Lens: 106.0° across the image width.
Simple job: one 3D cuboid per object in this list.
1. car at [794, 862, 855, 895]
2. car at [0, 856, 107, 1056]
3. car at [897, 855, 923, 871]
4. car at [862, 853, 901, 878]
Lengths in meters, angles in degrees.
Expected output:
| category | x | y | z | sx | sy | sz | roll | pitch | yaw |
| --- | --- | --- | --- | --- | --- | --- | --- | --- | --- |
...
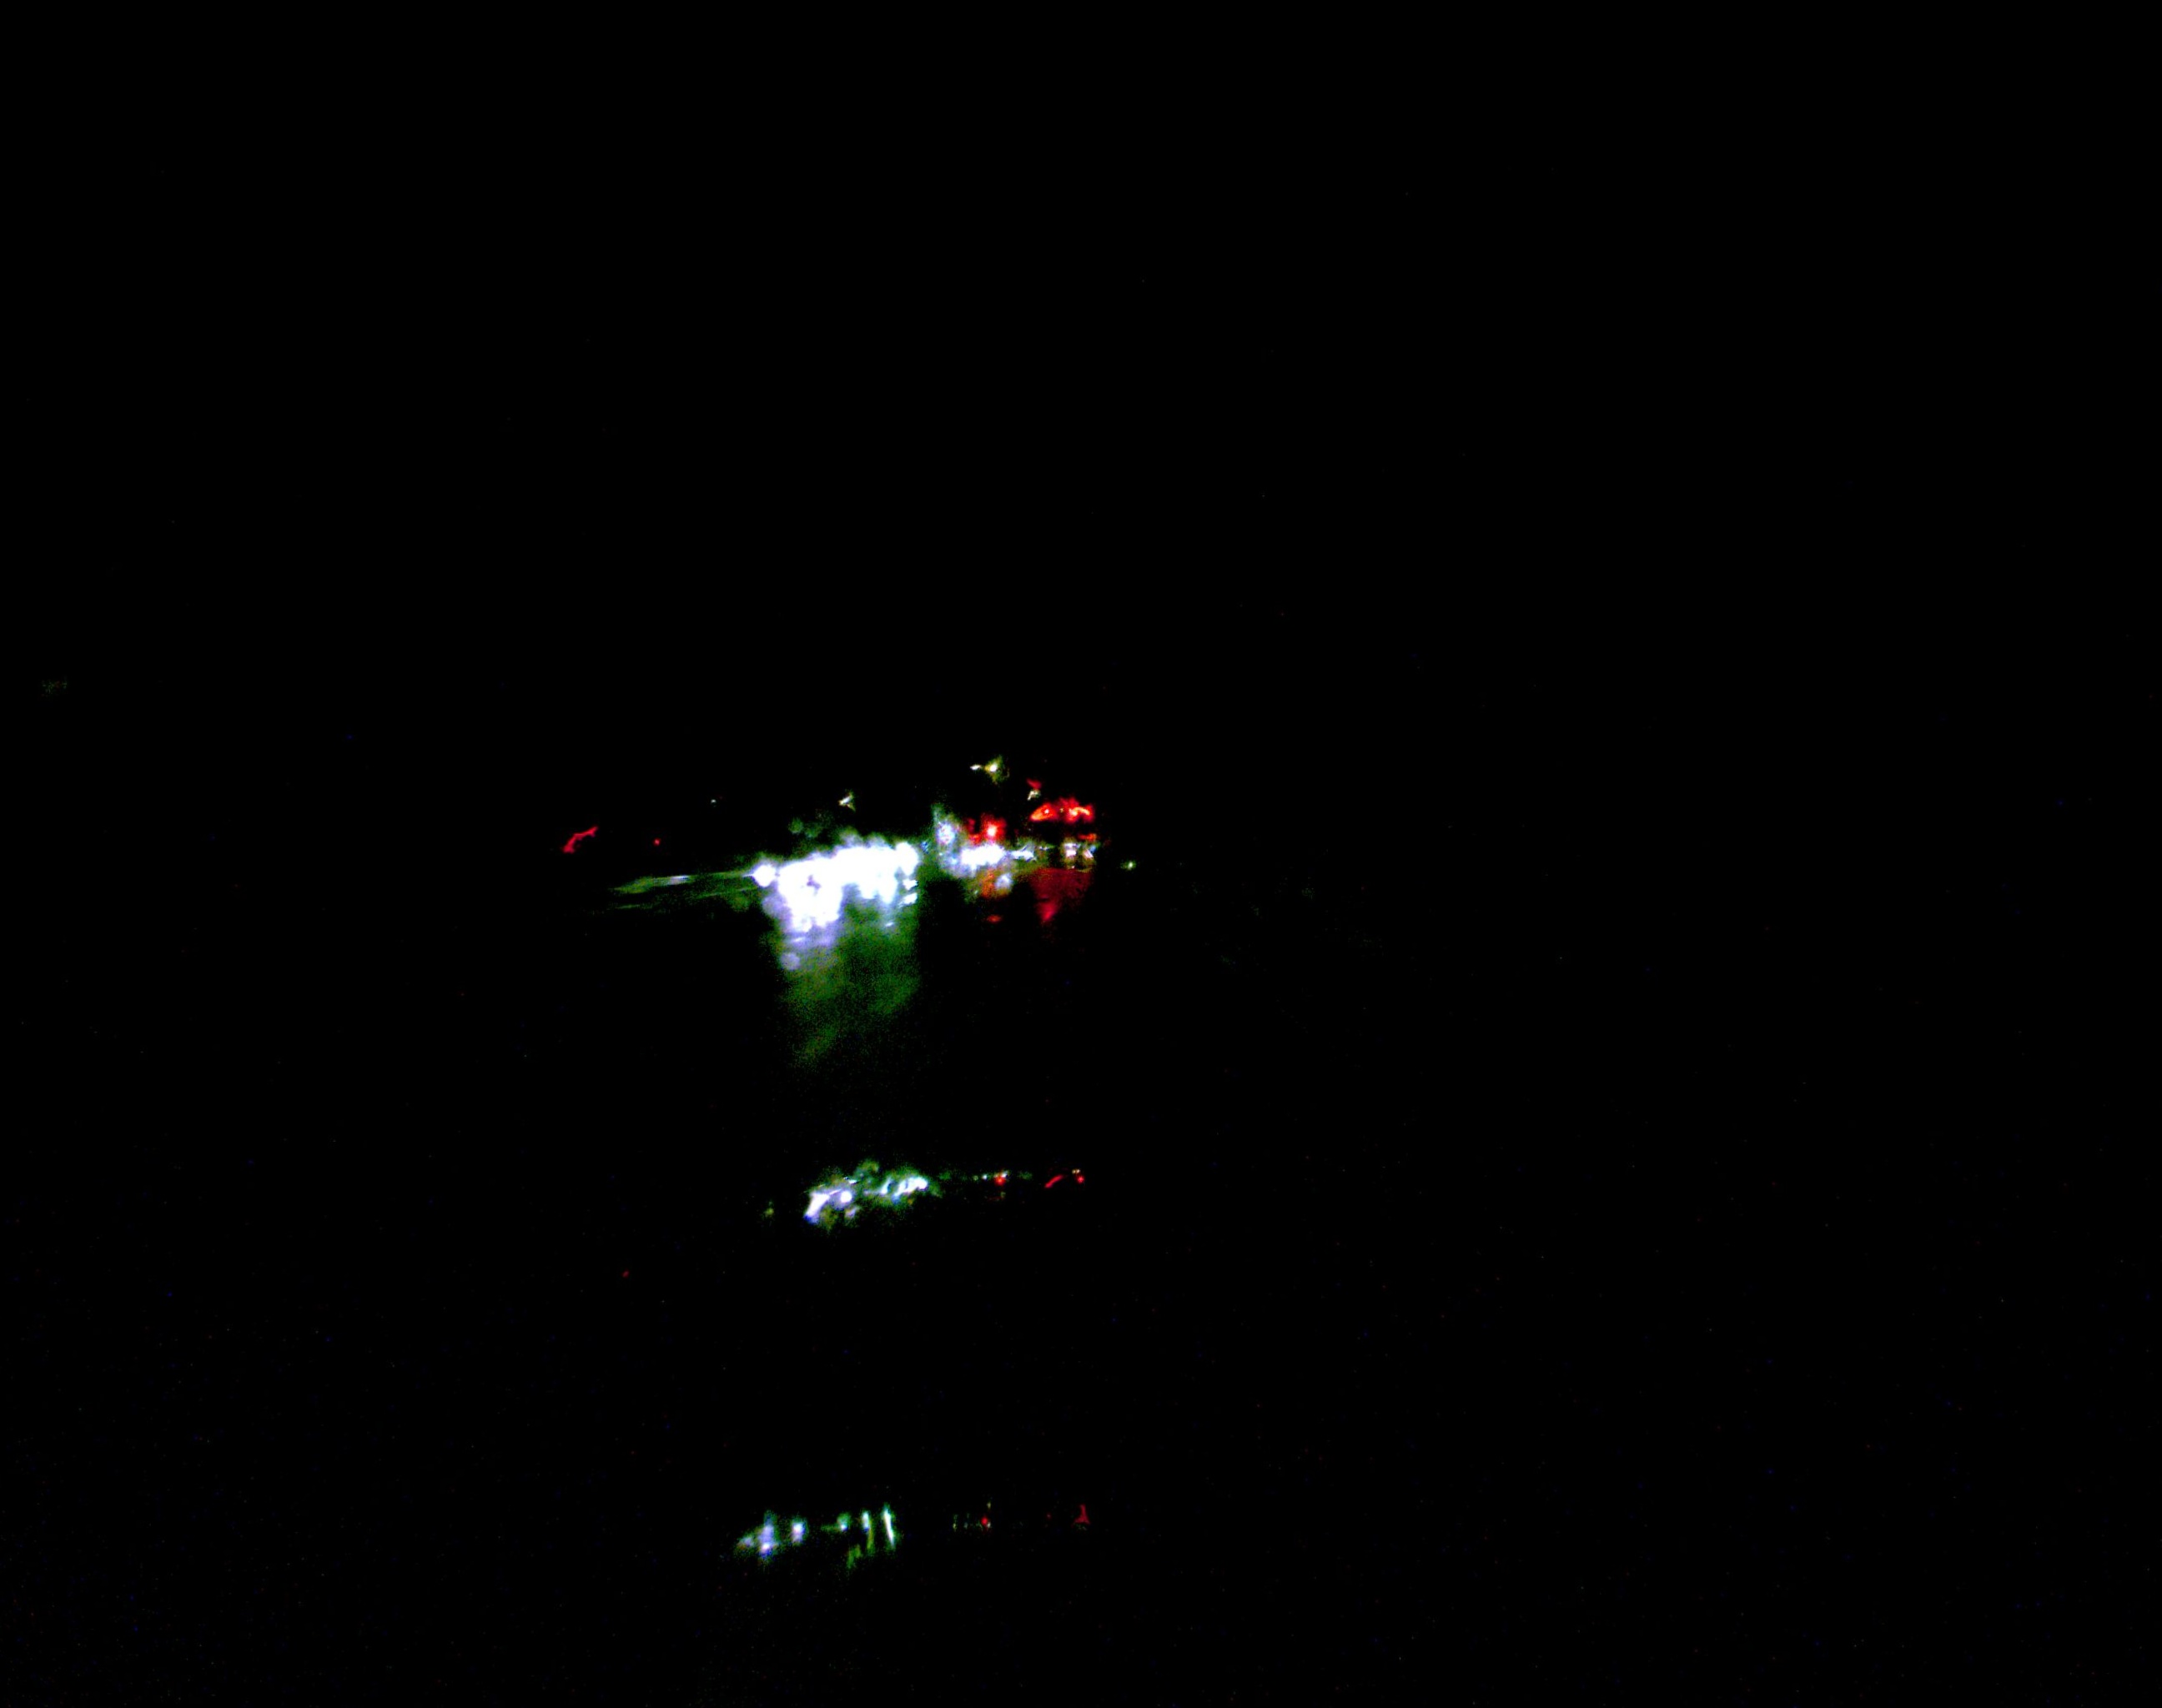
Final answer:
| category | x | y | z | sx | sy | sz | roll | pitch | yaw |
| --- | --- | --- | --- | --- | --- | --- | --- | --- | --- |
| car | -12.232 | 1.131 | 39.140 | 1.829 | 1.442 | 4.483 | 0 | 0 | -5 |
| car | -10.476 | 0.894 | 5.609 | 2.193 | 1.745 | 4.520 | 0 | 0 | -3 |
| car | -16.400 | 0.849 | 78.291 | 1.873 | 1.397 | 4.242 | -1 | 0 | -5 |
| car | -13.337 | 0.755 | 54.663 | 1.787 | 1.441 | 3.850 | -3 | 1 | -4 |
